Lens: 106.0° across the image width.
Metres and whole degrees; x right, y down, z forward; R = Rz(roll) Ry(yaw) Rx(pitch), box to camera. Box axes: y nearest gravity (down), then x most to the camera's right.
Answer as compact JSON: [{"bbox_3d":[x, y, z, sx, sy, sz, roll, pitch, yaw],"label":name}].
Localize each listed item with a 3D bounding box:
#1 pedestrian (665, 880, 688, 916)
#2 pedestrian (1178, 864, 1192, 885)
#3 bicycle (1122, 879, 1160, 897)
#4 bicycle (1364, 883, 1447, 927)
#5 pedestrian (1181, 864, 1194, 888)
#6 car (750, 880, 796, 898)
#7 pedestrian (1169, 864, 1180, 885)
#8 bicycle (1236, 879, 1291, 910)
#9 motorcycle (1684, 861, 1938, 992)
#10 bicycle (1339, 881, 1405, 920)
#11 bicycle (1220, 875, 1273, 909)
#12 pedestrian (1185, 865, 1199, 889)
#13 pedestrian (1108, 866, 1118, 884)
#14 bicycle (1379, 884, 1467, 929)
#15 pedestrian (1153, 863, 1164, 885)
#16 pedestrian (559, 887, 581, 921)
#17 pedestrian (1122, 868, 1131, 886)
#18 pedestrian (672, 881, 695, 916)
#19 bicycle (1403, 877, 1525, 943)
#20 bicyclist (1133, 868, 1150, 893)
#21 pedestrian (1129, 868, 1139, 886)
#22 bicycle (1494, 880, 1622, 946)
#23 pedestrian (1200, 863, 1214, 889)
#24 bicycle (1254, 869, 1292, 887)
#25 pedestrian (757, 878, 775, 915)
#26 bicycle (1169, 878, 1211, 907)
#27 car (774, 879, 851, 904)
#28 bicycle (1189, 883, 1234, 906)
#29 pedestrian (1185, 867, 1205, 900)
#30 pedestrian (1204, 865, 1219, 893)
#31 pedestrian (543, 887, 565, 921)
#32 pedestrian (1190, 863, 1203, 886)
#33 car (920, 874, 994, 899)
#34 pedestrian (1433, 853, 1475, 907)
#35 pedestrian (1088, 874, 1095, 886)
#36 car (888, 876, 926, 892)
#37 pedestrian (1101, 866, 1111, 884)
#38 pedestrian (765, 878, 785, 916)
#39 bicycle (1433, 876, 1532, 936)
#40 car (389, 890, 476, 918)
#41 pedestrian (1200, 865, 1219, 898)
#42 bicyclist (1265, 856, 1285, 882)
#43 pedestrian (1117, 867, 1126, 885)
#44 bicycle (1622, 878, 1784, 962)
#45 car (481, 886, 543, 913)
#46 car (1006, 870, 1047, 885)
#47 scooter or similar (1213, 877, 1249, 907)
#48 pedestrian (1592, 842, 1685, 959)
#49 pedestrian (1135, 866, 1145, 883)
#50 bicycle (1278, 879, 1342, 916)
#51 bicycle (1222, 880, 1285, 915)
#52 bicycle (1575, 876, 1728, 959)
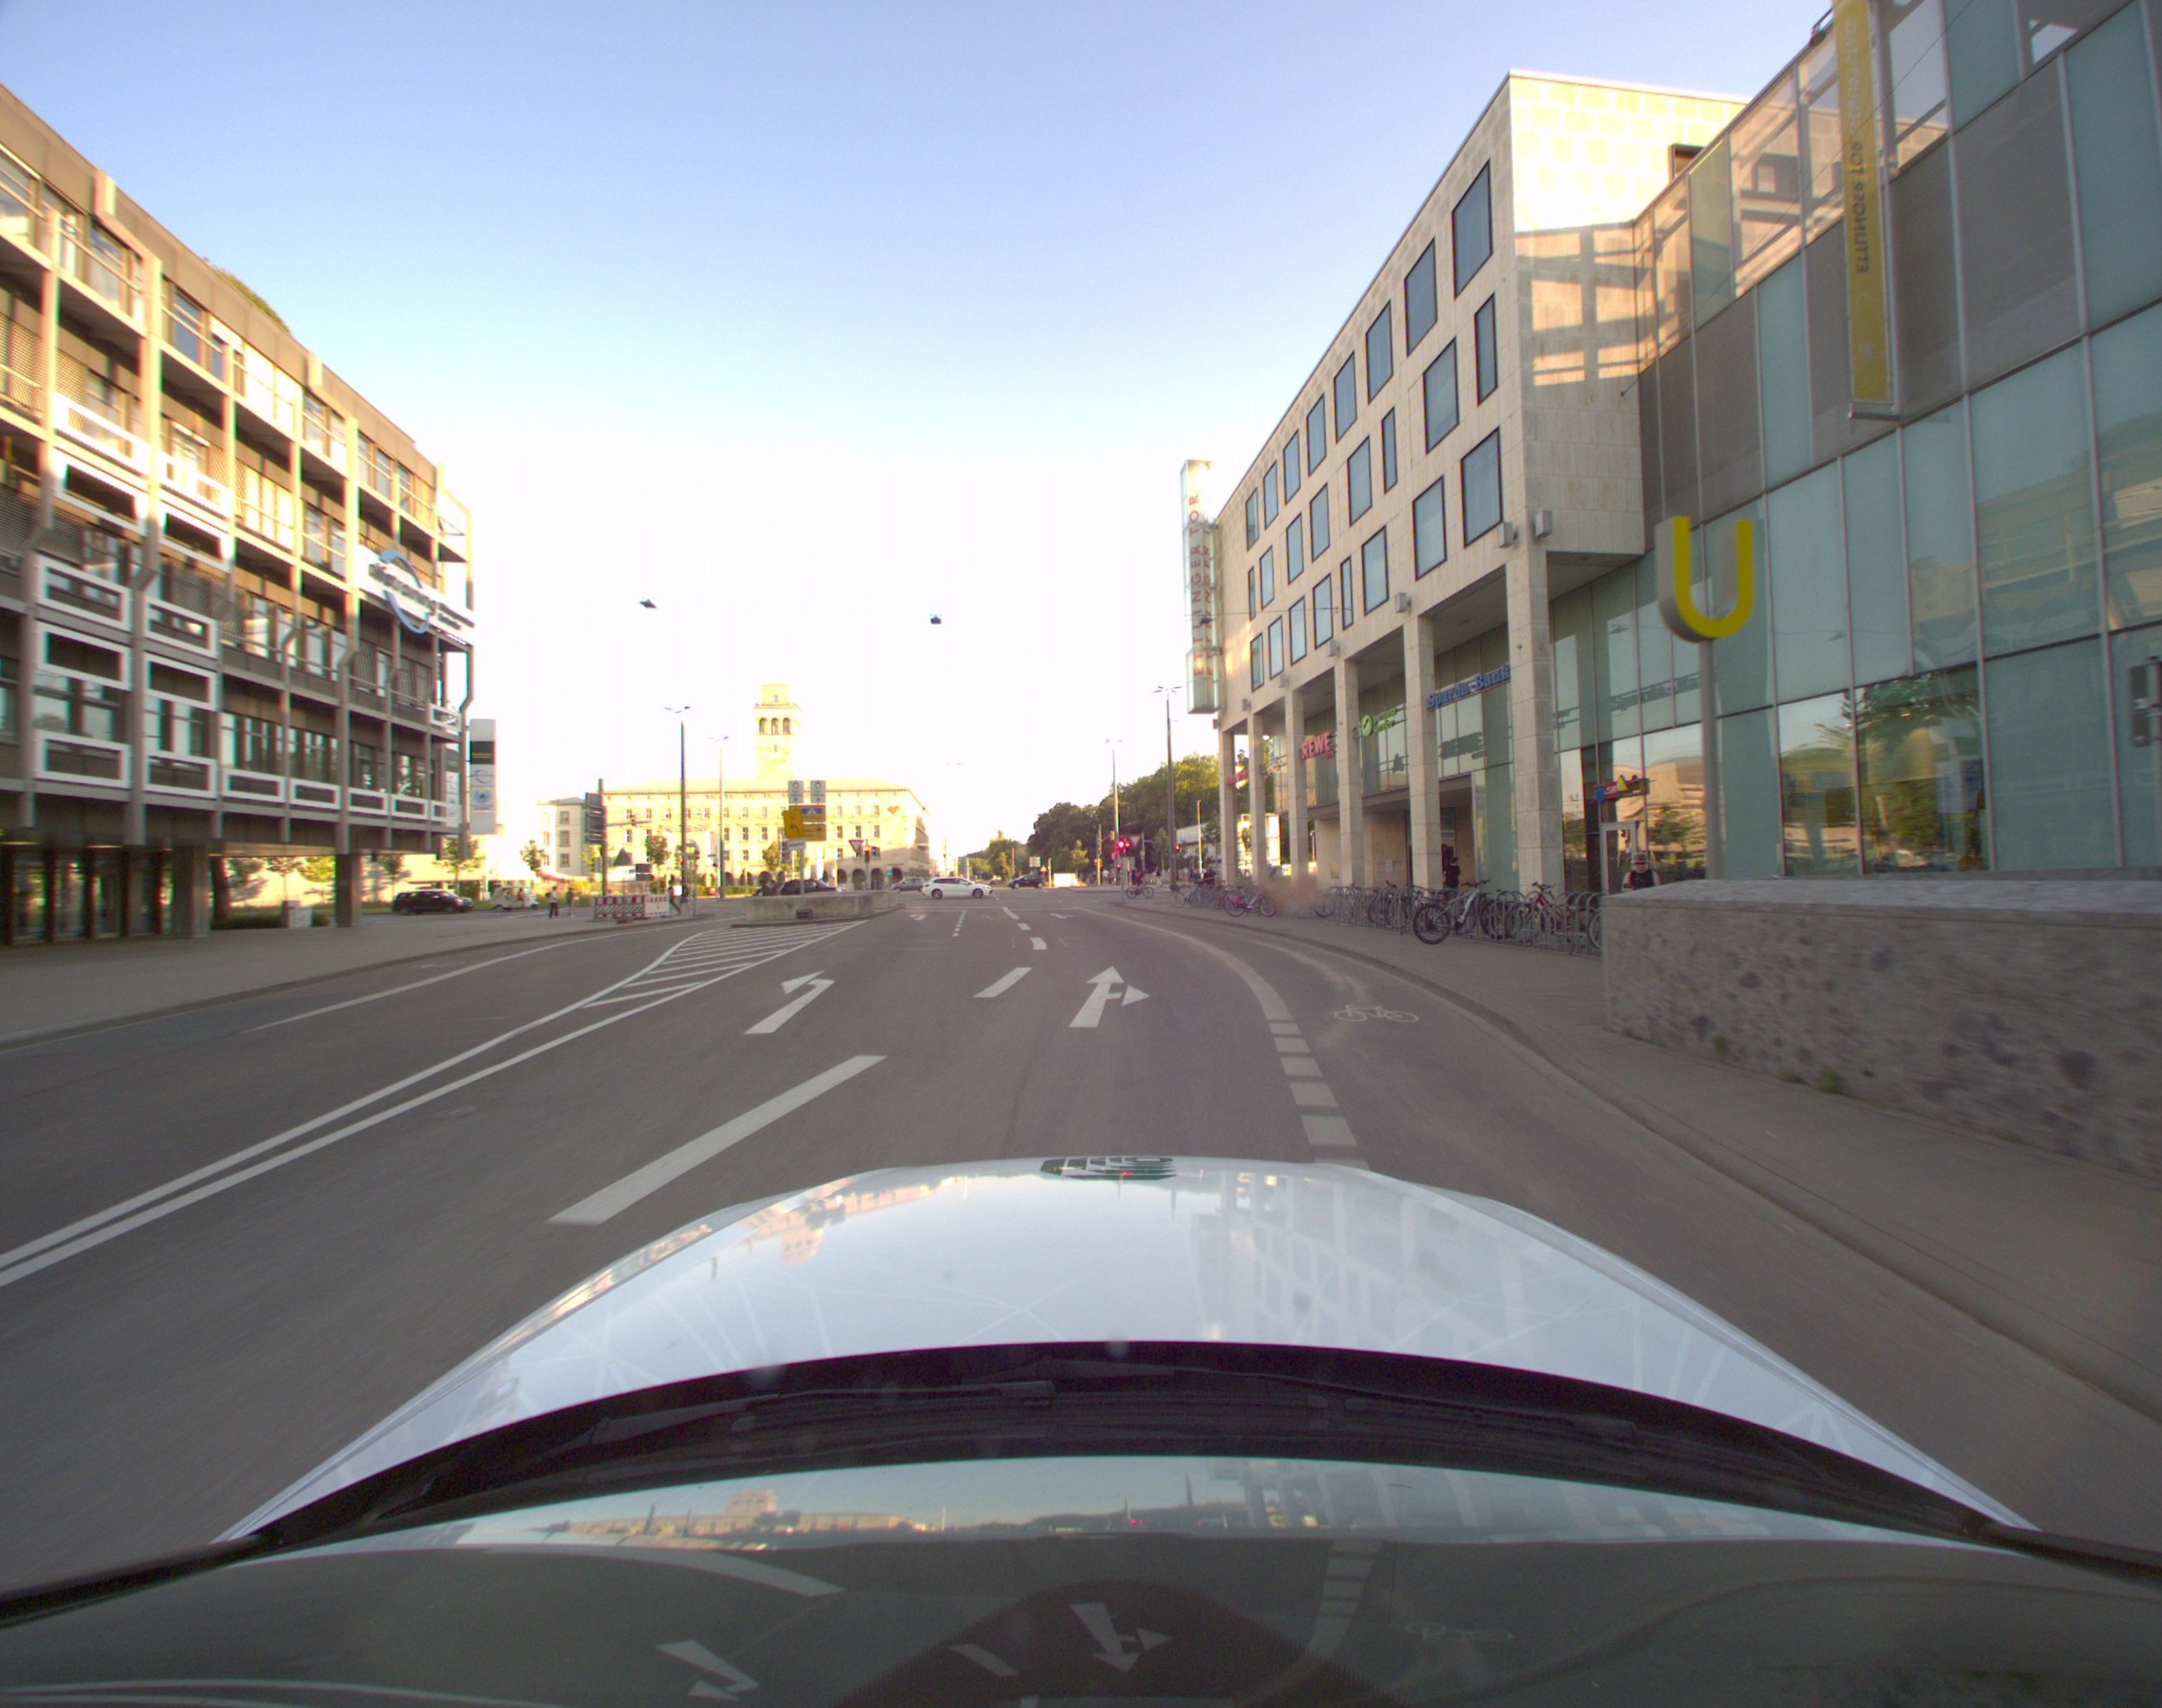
[{"bbox_3d":[-20.654,2.249,41.634,0.738,1.777,0.860,-4,-1,-10],"label":"pedestrian"},{"bbox_3d":[8.633,1.672,67.632,0.839,1.730,0.682,-1,-2,-23],"label":"pedestrian"},{"bbox_3d":[3.690,2.107,50.513,2.241,1.062,0.651,-2,-1,-8],"label":"bicycle"},{"bbox_3d":[7.565,1.183,19.001,1.738,0.936,0.515,-1,-2,-9],"label":"bicycle"},{"bbox_3d":[7.814,1.625,59.879,0.888,1.730,0.689,-2,-1,5],"label":"pedestrian"},{"bbox_3d":[-29.344,3.336,77.593,4.004,1.494,1.814,-1,-1,-23],"label":"car"},{"bbox_3d":[7.699,1.678,66.944,0.831,1.730,0.689,-2,-1,8],"label":"pedestrian"},{"bbox_3d":[6.611,1.473,29.510,1.868,1.113,0.569,1,-2,-4],"label":"bicycle"},{"bbox_3d":[8.312,0.780,9.315,2.298,1.333,0.904,-1,-2,-10],"label":"motorcycle"},{"bbox_3d":[8.090,1.276,22.628,1.708,1.023,0.597,-1,-2,-19],"label":"bicycle"},{"bbox_3d":[6.351,1.446,31.267,1.866,1.260,0.671,0,-2,-9],"label":"bicycle"},{"bbox_3d":[7.959,1.634,58.237,0.889,1.730,0.689,-2,-1,4],"label":"pedestrian"},{"bbox_3d":[3.149,2.086,80.759,0.809,1.730,0.684,-1,-2,-14],"label":"pedestrian"},{"bbox_3d":[7.716,1.174,18.382,1.807,0.936,0.515,-1,-2,-9],"label":"bicycle"},{"bbox_3d":[6.107,1.552,64.234,0.691,1.730,0.740,-1,-1,-6],"label":"pedestrian"},{"bbox_3d":[-28.198,2.767,44.930,0.745,1.777,0.852,-3,-2,-45],"label":"pedestrian"},{"bbox_3d":[4.542,2.317,80.982,0.804,1.730,0.689,-2,-1,5],"label":"pedestrian"},{"bbox_3d":[-20.891,2.333,42.806,0.738,1.777,0.860,-4,-1,-10],"label":"pedestrian"},{"bbox_3d":[7.076,1.025,15.089,1.983,1.129,0.570,-2,-2,-3],"label":"bicycle"},{"bbox_3d":[3.750,1.660,50.533,0.879,1.531,0.651,-2,-1,-8],"label":"bicyclist"},{"bbox_3d":[5.284,2.324,81.193,0.811,1.730,0.683,-1,-2,-22],"label":"pedestrian"},{"bbox_3d":[8.404,1.033,14.378,1.983,1.129,0.555,1,-2,-3],"label":"bicycle"},{"bbox_3d":[8.971,1.575,58.142,0.889,1.840,0.688,-2,-1,4],"label":"pedestrian"},{"bbox_3d":[12.238,1.547,52.025,2.240,1.062,0.652,-2,-1,-7],"label":"bicycle"},{"bbox_3d":[-15.541,2.078,40.207,0.742,1.777,0.855,0,-2,-28],"label":"pedestrian"},{"bbox_3d":[4.848,1.706,36.107,1.807,1.212,0.572,-2,-2,8],"label":"bicycle"},{"bbox_3d":[-17.649,2.446,53.651,4.458,1.496,2.122,-2,-1,-8],"label":"car"},{"bbox_3d":[5.754,1.782,35.837,1.866,0.936,0.515,-1,-2,-9],"label":"bicycle"},{"bbox_3d":[6.480,1.664,46.440,0.860,1.777,0.739,-4,-1,-7],"label":"pedestrian"},{"bbox_3d":[8.881,1.708,55.582,0.889,1.831,0.688,-2,-1,1],"label":"pedestrian"},{"bbox_3d":[-28.947,2.737,44.730,0.745,1.777,0.853,-3,-2,-44],"label":"pedestrian"},{"bbox_3d":[8.674,1.521,61.187,0.889,1.730,0.689,-2,-1,4],"label":"pedestrian"},{"bbox_3d":[-8.301,2.180,54.854,4.794,1.496,2.122,-2,-1,-8],"label":"car"},{"bbox_3d":[12.917,0.898,28.224,0.860,1.777,0.987,-3,-1,-8],"label":"pedestrian"},{"bbox_3d":[1.557,3.733,116.251,0.808,1.730,0.926,-1,-1,-9],"label":"pedestrian"},{"bbox_3d":[-17.402,3.006,81.498,3.719,1.453,1.538,-1,-1,-14],"label":"car"},{"bbox_3d":[2.467,2.104,80.514,0.808,1.730,0.686,-1,-1,-9],"label":"pedestrian"},{"bbox_3d":[-14.895,2.086,39.672,0.743,1.777,0.855,-1,-2,-29],"label":"pedestrian"},{"bbox_3d":[8.100,1.044,16.450,1.762,1.129,0.515,-2,-2,-5],"label":"bicycle"},{"bbox_3d":[-43.185,3.309,54.354,4.189,1.592,1.687,-1,-1,-16],"label":"car"},{"bbox_3d":[7.335,1.561,46.458,0.755,1.777,0.739,-4,-1,-7],"label":"pedestrian"},{"bbox_3d":[12.379,0.967,52.067,1.019,1.621,0.652,-2,-1,-7],"label":"bicyclist"},{"bbox_3d":[4.106,2.222,81.824,0.804,1.730,0.689,-2,-1,5],"label":"pedestrian"},{"bbox_3d":[9.064,0.954,11.894,1.983,1.129,0.516,-2,-2,-3],"label":"bicycle"},{"bbox_3d":[-38.635,3.063,55.401,3.143,1.685,1.600,-1,-1,-21],"label":"car"},{"bbox_3d":[-5.721,2.499,85.632,3.988,1.453,1.535,-1,-1,-20],"label":"car"},{"bbox_3d":[6.074,1.529,33.008,1.275,1.160,0.671,-1,-2,-9],"label":"scooter or similar"},{"bbox_3d":[8.703,0.712,12.753,0.833,1.735,0.819,-2,-2,0],"label":"pedestrian"},{"bbox_3d":[5.929,2.056,81.870,0.811,1.730,0.683,-1,-2,-21],"label":"pedestrian"},{"bbox_3d":[7.056,1.322,25.140,1.810,1.100,0.600,1,-2,0],"label":"bicycle"},{"bbox_3d":[5.581,1.390,26.338,1.893,1.048,0.570,-2,-2,-3],"label":"bicycle"},{"bbox_3d":[8.695,0.956,12.436,1.983,1.179,0.516,-2,-2,-3],"label":"bicycle"}]
